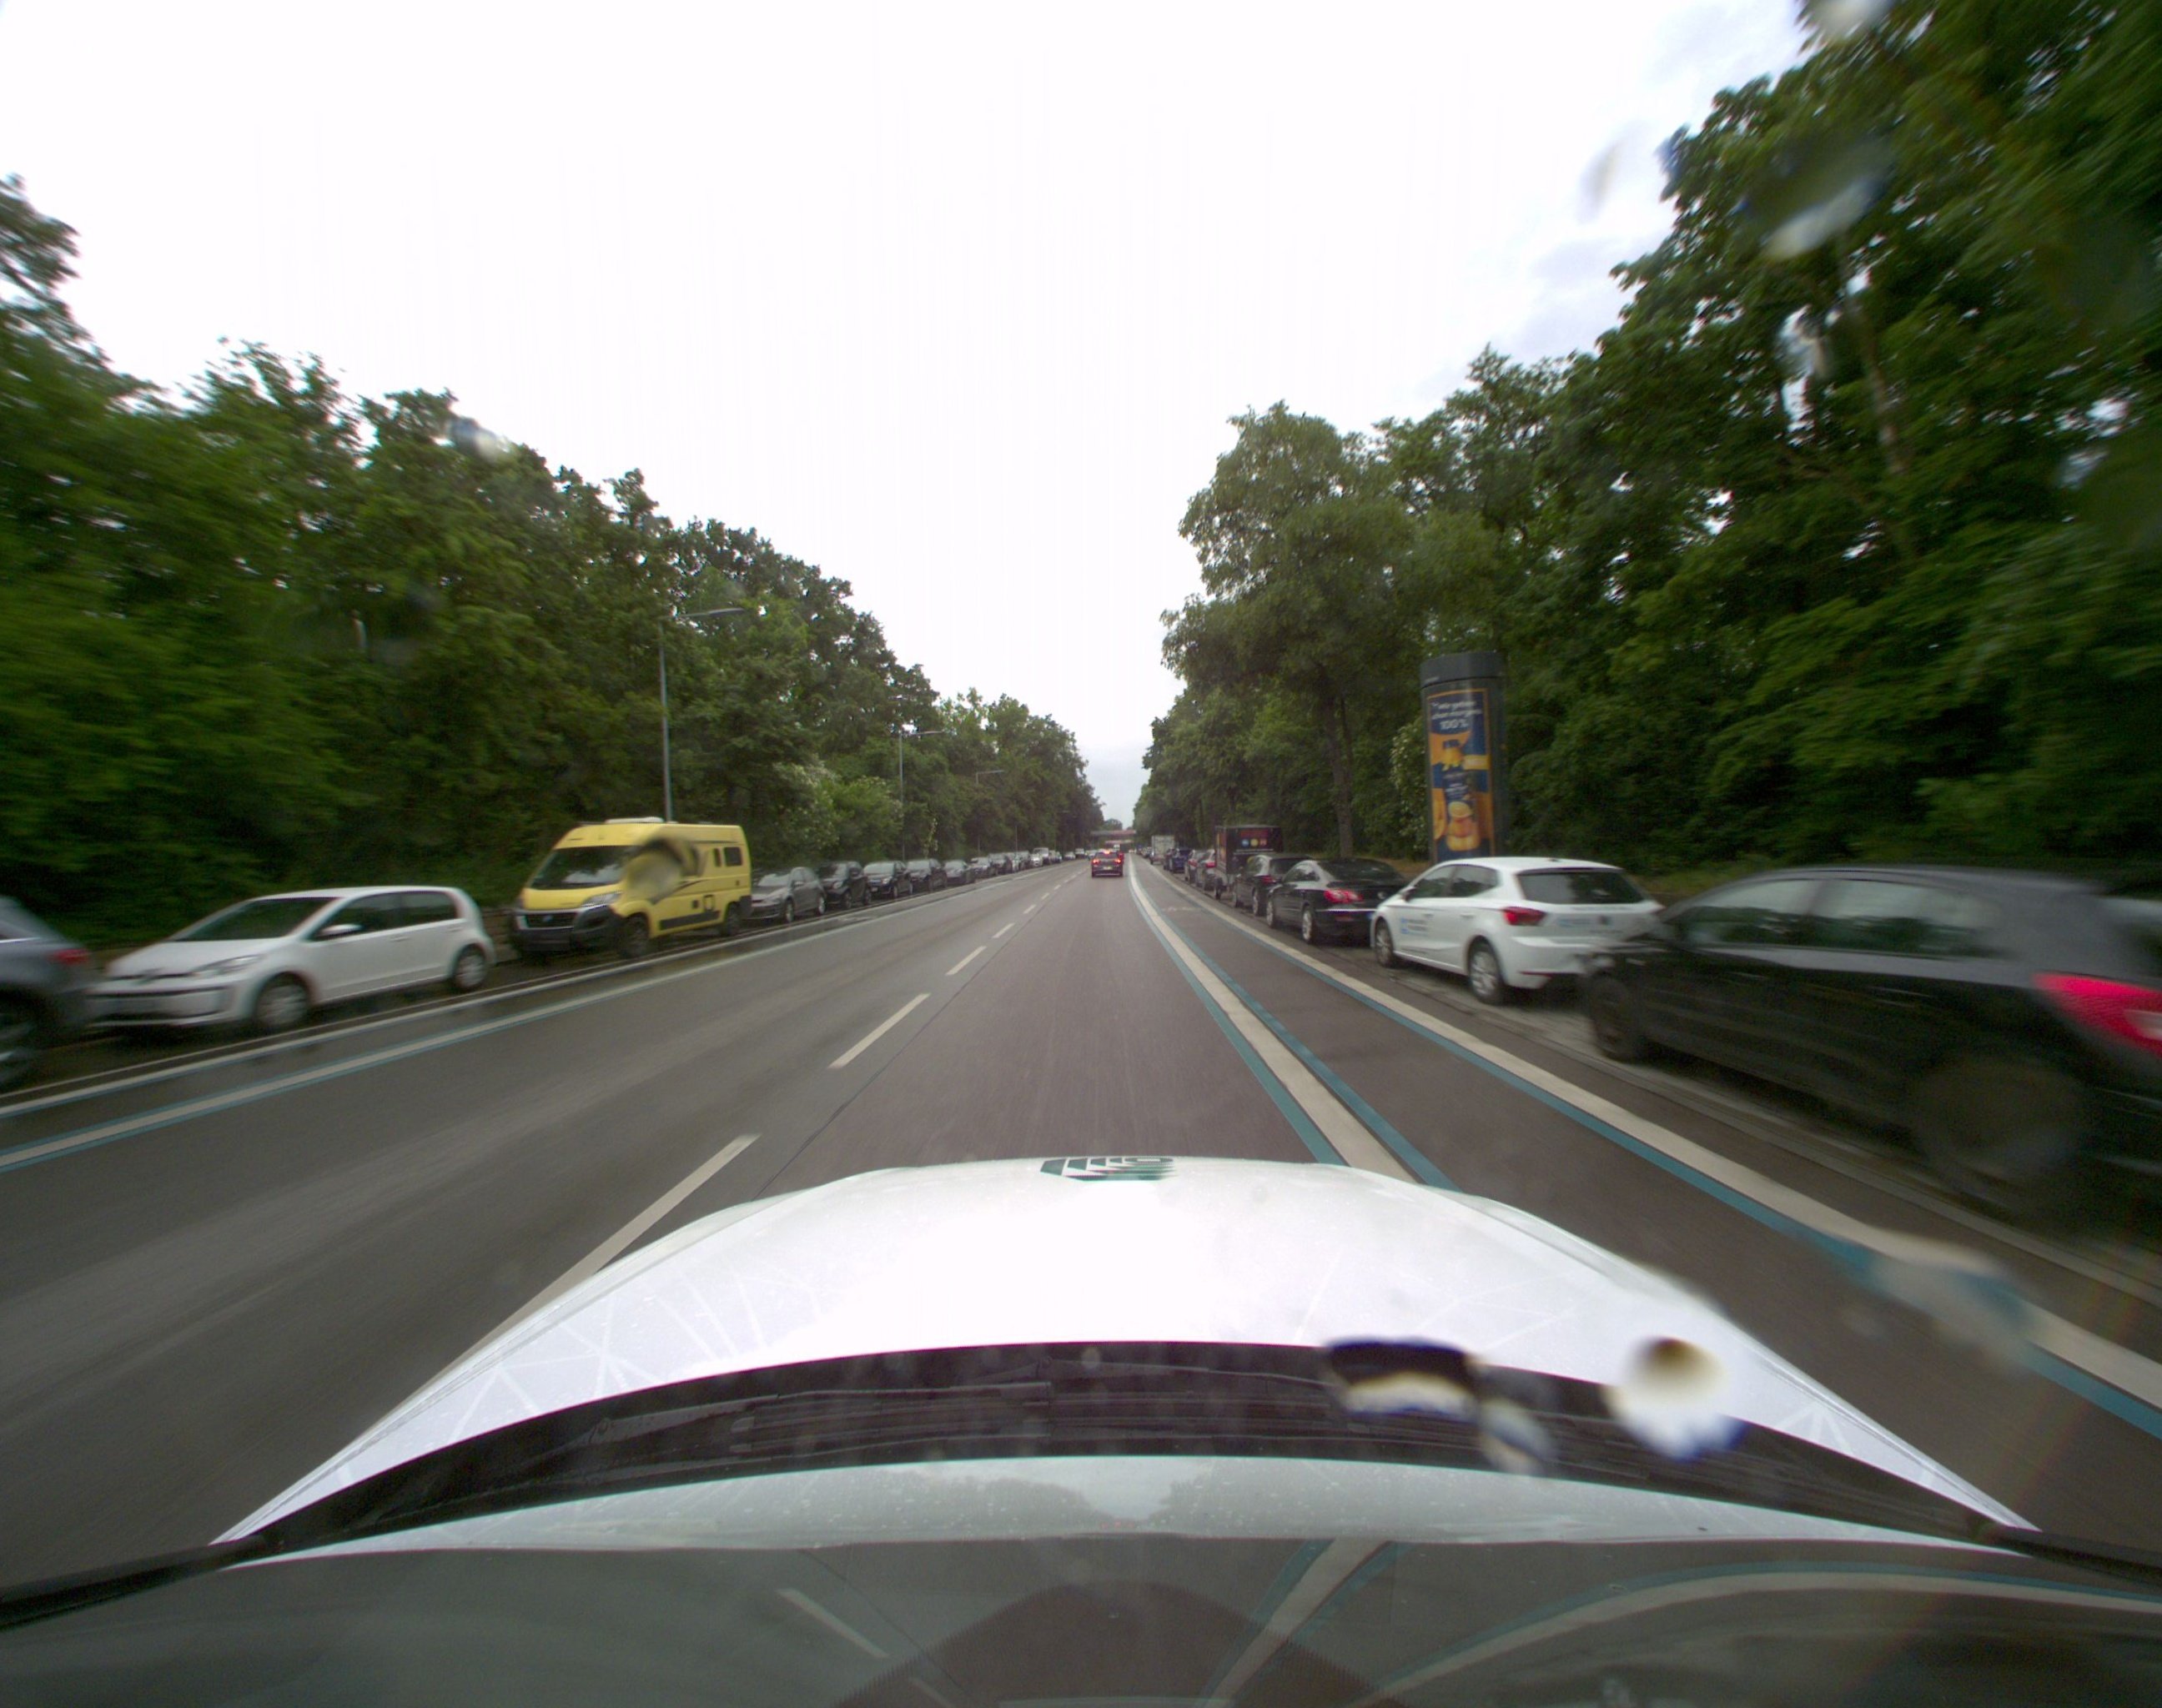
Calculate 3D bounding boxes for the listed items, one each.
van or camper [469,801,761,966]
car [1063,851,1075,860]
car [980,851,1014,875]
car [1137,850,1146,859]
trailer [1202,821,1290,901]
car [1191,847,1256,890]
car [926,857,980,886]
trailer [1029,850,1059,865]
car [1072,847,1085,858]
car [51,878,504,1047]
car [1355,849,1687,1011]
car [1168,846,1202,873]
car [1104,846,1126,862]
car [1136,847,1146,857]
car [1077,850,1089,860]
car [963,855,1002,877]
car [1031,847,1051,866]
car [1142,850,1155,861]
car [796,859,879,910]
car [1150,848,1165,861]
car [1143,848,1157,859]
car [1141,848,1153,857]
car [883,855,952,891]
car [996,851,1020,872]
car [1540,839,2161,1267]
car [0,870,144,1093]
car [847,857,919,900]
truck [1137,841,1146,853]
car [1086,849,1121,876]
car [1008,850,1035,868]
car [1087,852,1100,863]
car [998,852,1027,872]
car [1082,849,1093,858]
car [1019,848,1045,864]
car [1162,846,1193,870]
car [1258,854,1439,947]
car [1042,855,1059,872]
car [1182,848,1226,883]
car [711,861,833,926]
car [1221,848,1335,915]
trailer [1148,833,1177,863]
[{"bbox_3d":[-8.705,0.472,16.095,2.134,2.627,5.688,-2,0,4],"label":"van or camper"},{"bbox_3d":[-1.978,0.204,135.650,1.666,1.513,3.632,-1,1,2],"label":"car"},{"bbox_3d":[-5.928,0.596,57.737,1.689,1.584,4.143,-2,0,4],"label":"car"},{"bbox_3d":[13.840,0.108,187.391,1.985,1.772,4.003,-3,-1,3],"label":"car"},{"bbox_3d":[5.044,0.178,25.519,1.898,2.247,4.770,-1,0,2],"label":"trailer"},{"bbox_3d":[5.324,0.492,30.906,1.788,1.450,4.430,-2,0,2],"label":"car"},{"bbox_3d":[-6.504,0.844,41.823,1.862,1.304,4.473,-1,0,2],"label":"car"},{"bbox_3d":[-4.327,0.378,95.716,1.609,1.628,3.696,-2,0,34],"label":"trailer"},{"bbox_3d":[-0.508,-0.245,160.000,2.149,2.013,5.036,-2,0,4],"label":"car"},{"bbox_3d":[-9.106,1.115,9.737,1.611,1.448,3.660,-3,0,3],"label":"car"},{"bbox_3d":[4.692,0.691,9.425,1.613,1.466,3.998,0,0,-1],"label":"car"},{"bbox_3d":[6.246,0.295,49.203,1.675,1.481,4.321,-1,1,2],"label":"car"},{"bbox_3d":[3.143,-0.043,76.138,1.875,1.466,3.999,0,0,0],"label":"car"},{"bbox_3d":[13.237,-0.471,180.043,1.986,2.013,4.002,-1,0,2],"label":"car"},{"bbox_3d":[0.396,0.165,168.084,2.149,2.013,5.036,-2,0,4],"label":"car"},{"bbox_3d":[-6.305,0.732,52.288,1.689,1.300,4.197,-2,0,4],"label":"car"},{"bbox_3d":[-4.453,0.237,90.687,1.933,2.013,4.740,-1,0,0],"label":"car"},{"bbox_3d":[10.403,0.191,125.121,1.889,1.606,4.004,-1,0,3],"label":"car"},{"bbox_3d":[-8.013,0.953,27.094,1.595,1.510,3.142,-2,0,4],"label":"car"},{"bbox_3d":[9.421,0.067,100.794,1.714,1.525,4.004,-1,0,3],"label":"car"},{"bbox_3d":[10.219,-0.058,120.505,1.889,1.606,4.004,-1,0,3],"label":"car"},{"bbox_3d":[12.561,-0.269,155.506,1.986,1.530,4.002,-1,0,2],"label":"car"},{"bbox_3d":[-7.372,0.820,37.050,1.984,1.452,4.143,-2,0,4],"label":"car"},{"bbox_3d":[-5.548,0.549,62.399,1.455,1.571,2.985,-2,0,2],"label":"car"},{"bbox_3d":[4.526,0.682,4.721,1.652,1.465,3.902,1,0,2],"label":"car"},{"bbox_3d":[-9.434,1.037,4.974,1.986,1.700,4.616,-2,0,1],"label":"car"},{"bbox_3d":[-7.800,0.916,32.441,1.595,1.510,3.981,-2,0,4],"label":"car"},{"bbox_3d":[14.468,-1.696,195.212,2.104,2.599,4.305,-2,0,3],"label":"truck"},{"bbox_3d":[1.265,0.517,45.681,1.865,1.441,4.296,0,-1,1],"label":"car"},{"bbox_3d":[-5.375,0.460,73.809,1.871,1.561,4.472,-1,0,3],"label":"car"},{"bbox_3d":[1.787,0.518,116.209,1.691,1.485,4.038,-3,0,3],"label":"car"},{"bbox_3d":[-5.673,0.633,67.703,1.801,1.488,4.471,-1,0,2],"label":"car"},{"bbox_3d":[1.507,-0.109,184.953,2.149,2.013,5.036,-2,0,4],"label":"car"},{"bbox_3d":[-4.784,0.202,80.305,1.985,1.488,4.472,-1,0,3],"label":"car"},{"bbox_3d":[6.502,0.254,55.080,1.707,1.512,3.977,-1,0,2],"label":"car"},{"bbox_3d":[4.505,0.699,14.470,1.746,1.393,4.444,0,0,-1],"label":"car"},{"bbox_3d":[-3.777,1.128,101.266,1.933,2.013,4.740,-1,0,0],"label":"car"},{"bbox_3d":[5.460,0.490,36.529,1.608,1.470,4.004,0,0,3],"label":"car"},{"bbox_3d":[-8.317,1.000,22.336,1.674,1.498,4.149,-3,0,1],"label":"car"},{"bbox_3d":[4.777,0.609,20.311,1.816,1.485,4.199,0,0,0],"label":"car"},{"bbox_3d":[7.183,-0.506,72.069,2.125,2.560,4.297,-1,0,1],"label":"trailer"}]
